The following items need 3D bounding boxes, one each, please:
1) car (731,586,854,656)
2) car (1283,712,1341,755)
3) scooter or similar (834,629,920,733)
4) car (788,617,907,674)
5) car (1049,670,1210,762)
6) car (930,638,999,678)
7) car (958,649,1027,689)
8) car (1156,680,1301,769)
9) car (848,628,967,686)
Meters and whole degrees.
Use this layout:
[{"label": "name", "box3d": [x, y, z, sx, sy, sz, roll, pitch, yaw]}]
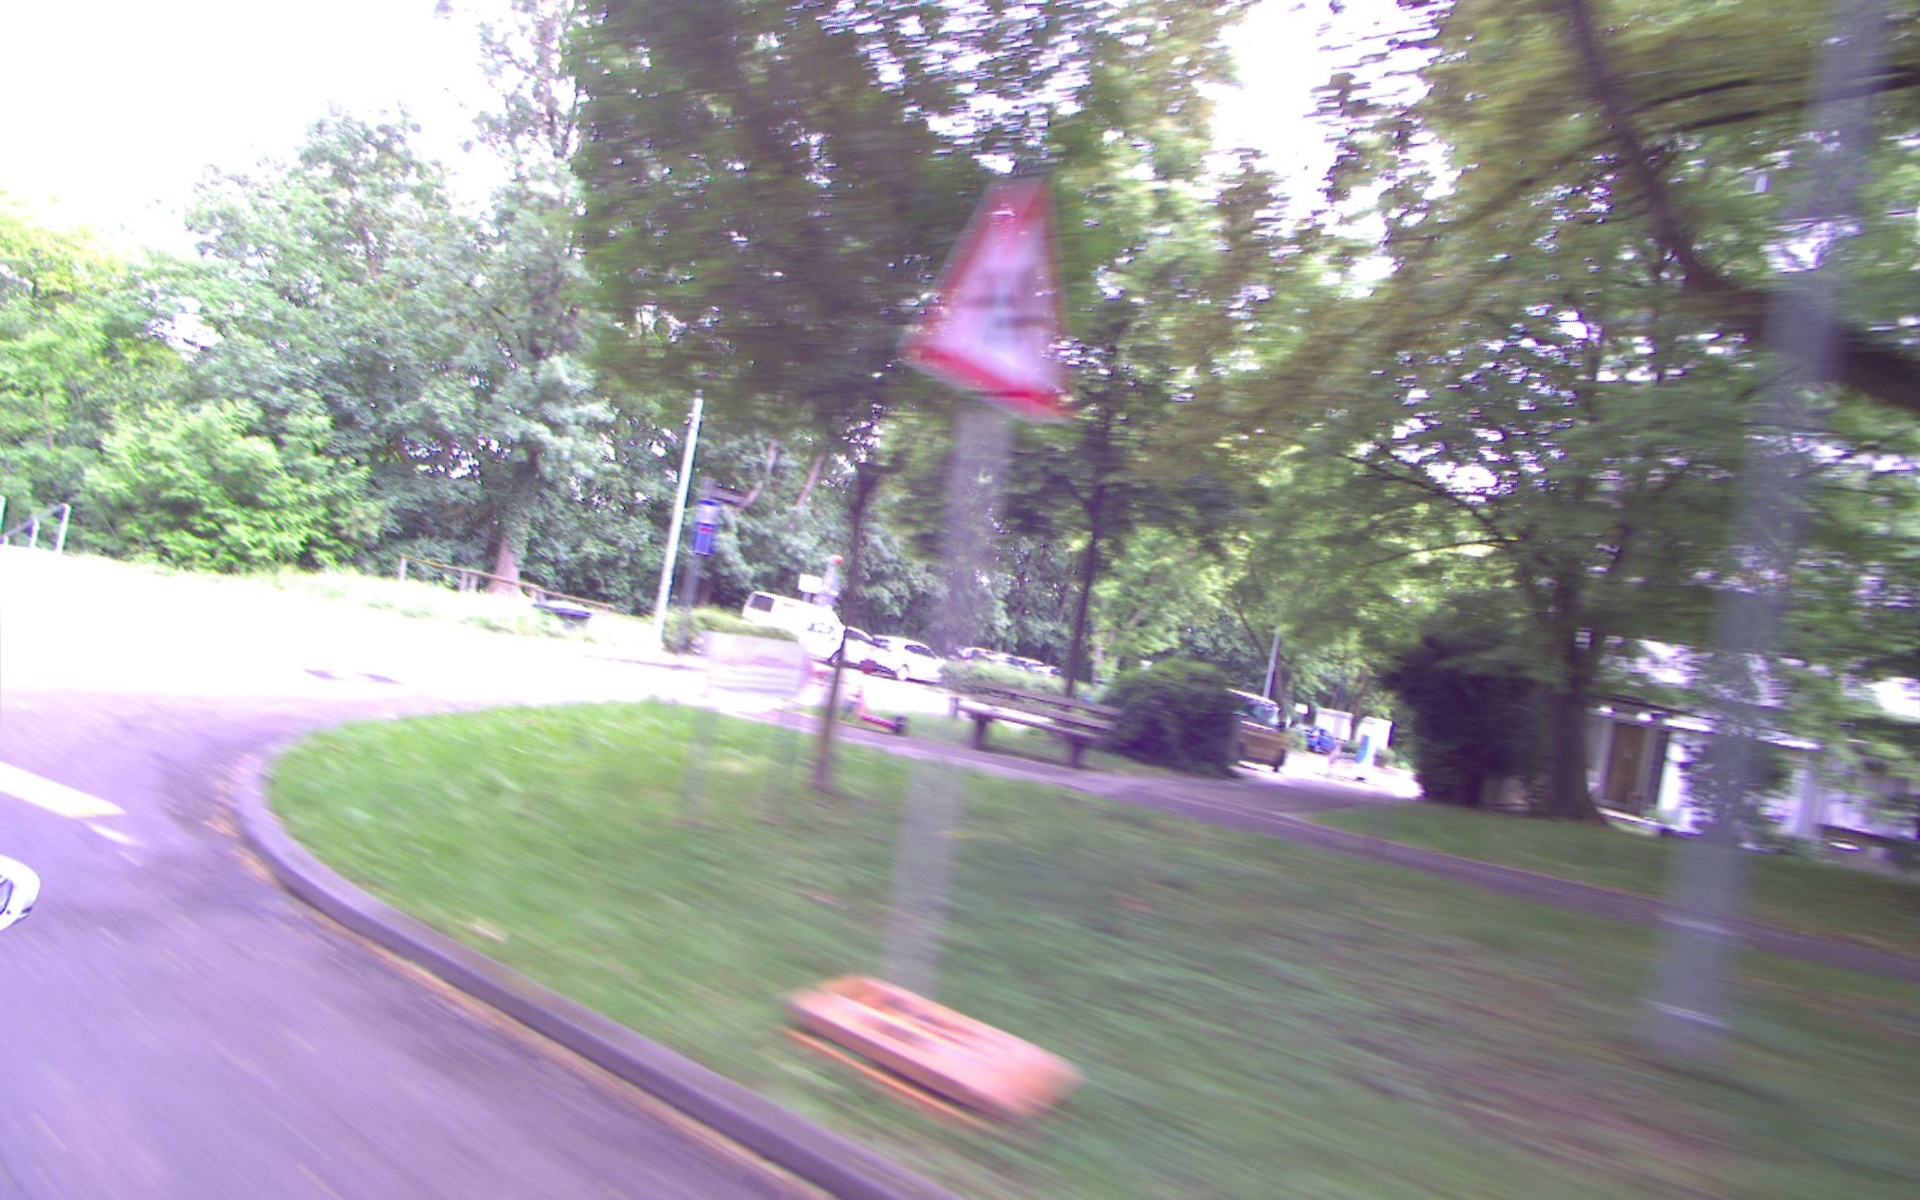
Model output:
[{"label": "car", "box3d": [-6.301, 0.830, 38.230, 1.969, 2.036, 4.210, 7, -2, 36]}, {"label": "car", "box3d": [20.345, 7.709, 58.037, 1.969, 2.036, 3.992, 7, -2, 36]}, {"label": "scooter or similar", "box3d": [-1.175, 1.129, 14.202, 1.090, 1.301, 0.283, 8, -1, 34]}, {"label": "car", "box3d": [-4.021, 1.691, 36.456, 1.772, 1.515, 4.210, 7, -3, 36]}, {"label": "car", "box3d": [3.909, 2.663, 22.894, 1.808, 1.587, 3.513, 7, -3, 44]}, {"label": "car", "box3d": [0.262, 3.113, 53.782, 1.804, 1.587, 3.521, 8, -3, 37]}, {"label": "car", "box3d": [1.727, 3.607, 52.355, 1.742, 1.587, 3.521, 8, -3, 37]}, {"label": "car", "box3d": [7.156, 3.334, 26.537, 1.806, 1.869, 4.397, 8, -3, 40]}, {"label": "car", "box3d": [-1.776, 2.035, 35.367, 1.772, 1.515, 4.210, 7, -3, 36]}]
